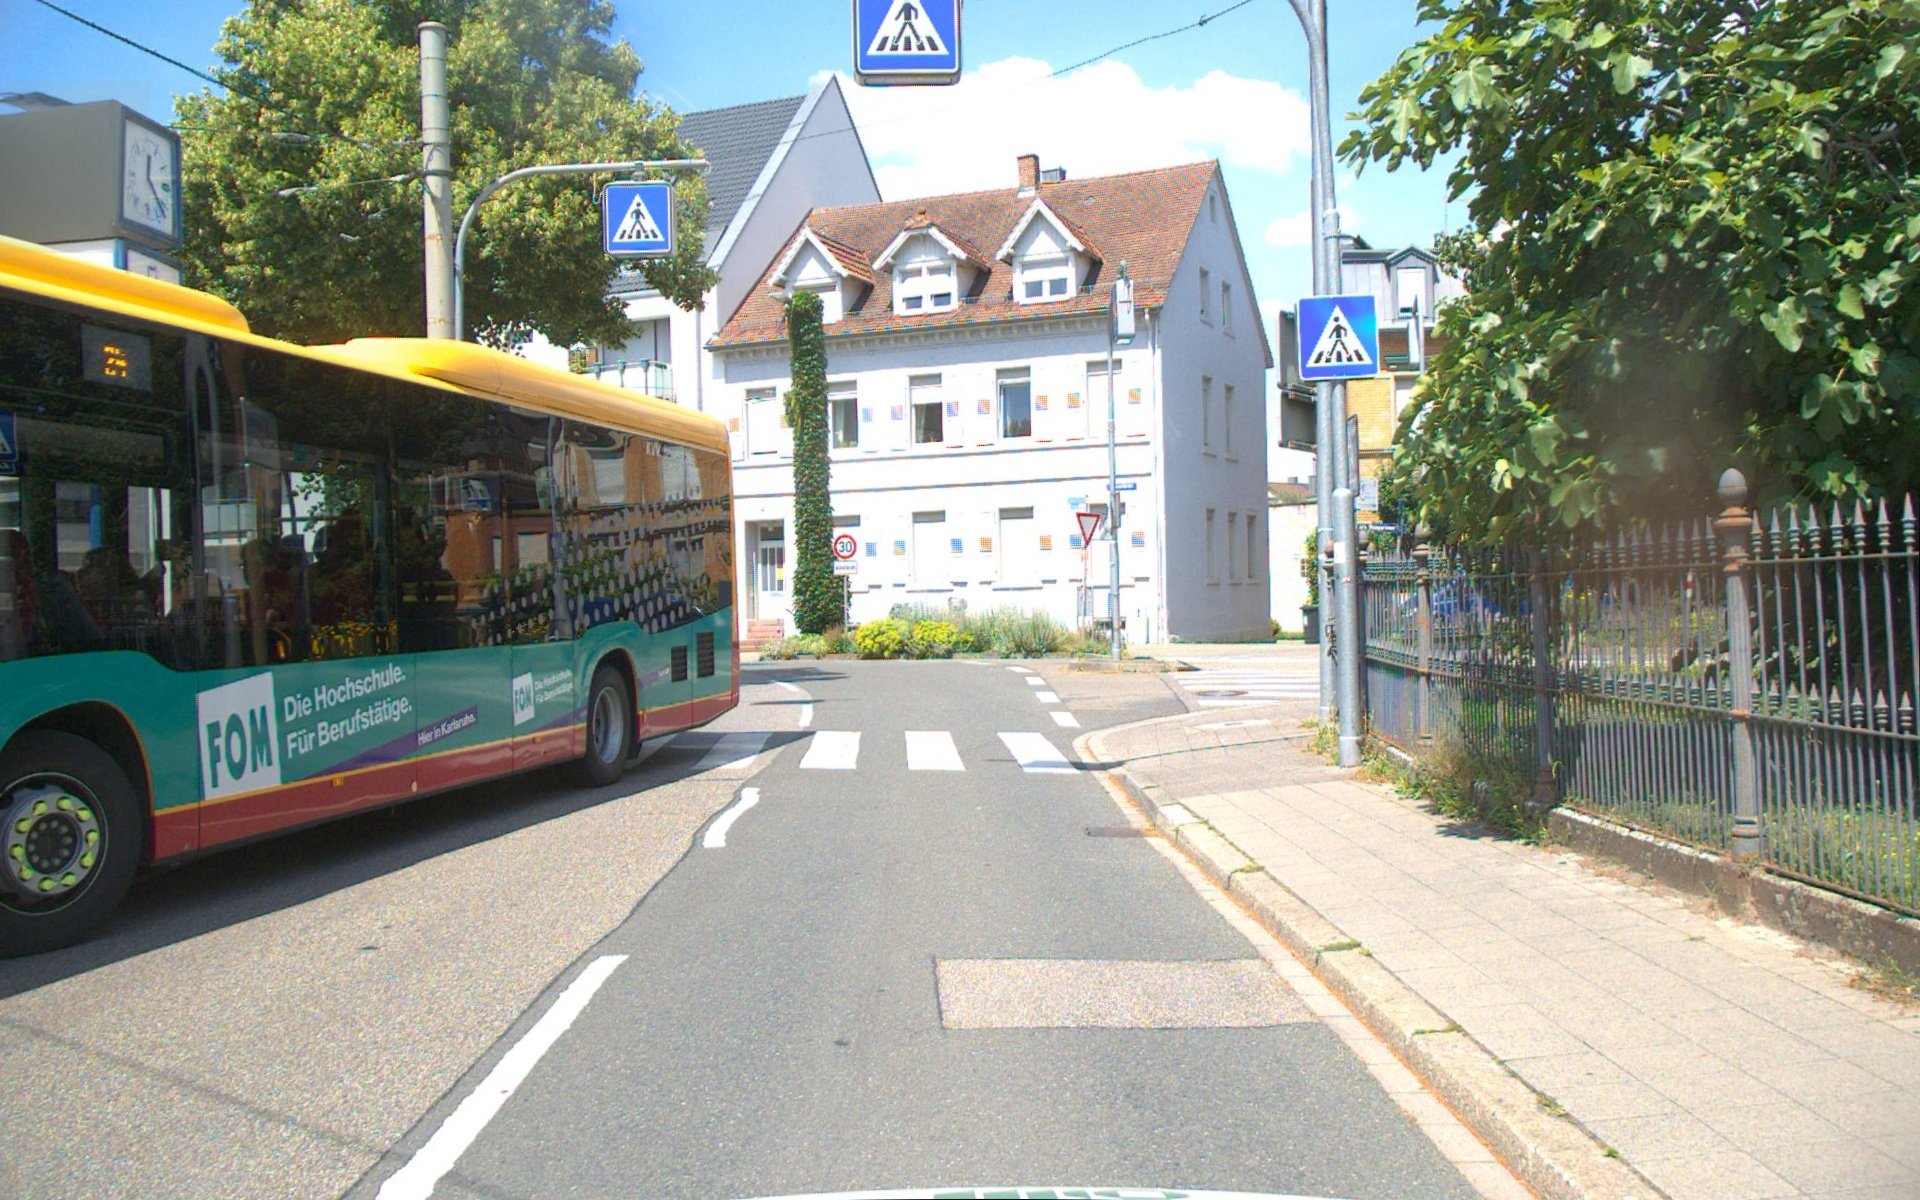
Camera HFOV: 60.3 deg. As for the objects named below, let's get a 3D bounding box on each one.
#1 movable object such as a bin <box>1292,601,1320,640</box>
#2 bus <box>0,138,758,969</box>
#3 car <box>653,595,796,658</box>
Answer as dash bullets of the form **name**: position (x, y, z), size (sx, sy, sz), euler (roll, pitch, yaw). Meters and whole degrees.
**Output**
- **movable object such as a bin**: position (8.411, 0.508, 40.205), size (0.413, 0.932, 0.555), euler (1, -2, -25)
- **bus**: position (-4.434, -0.233, 10.421), size (2.720, 3.264, 12.318), euler (0, 1, 10)
- **car**: position (-6.251, 0.708, 43.896), size (3.539, 1.614, 1.581), euler (-1, -2, 30)
